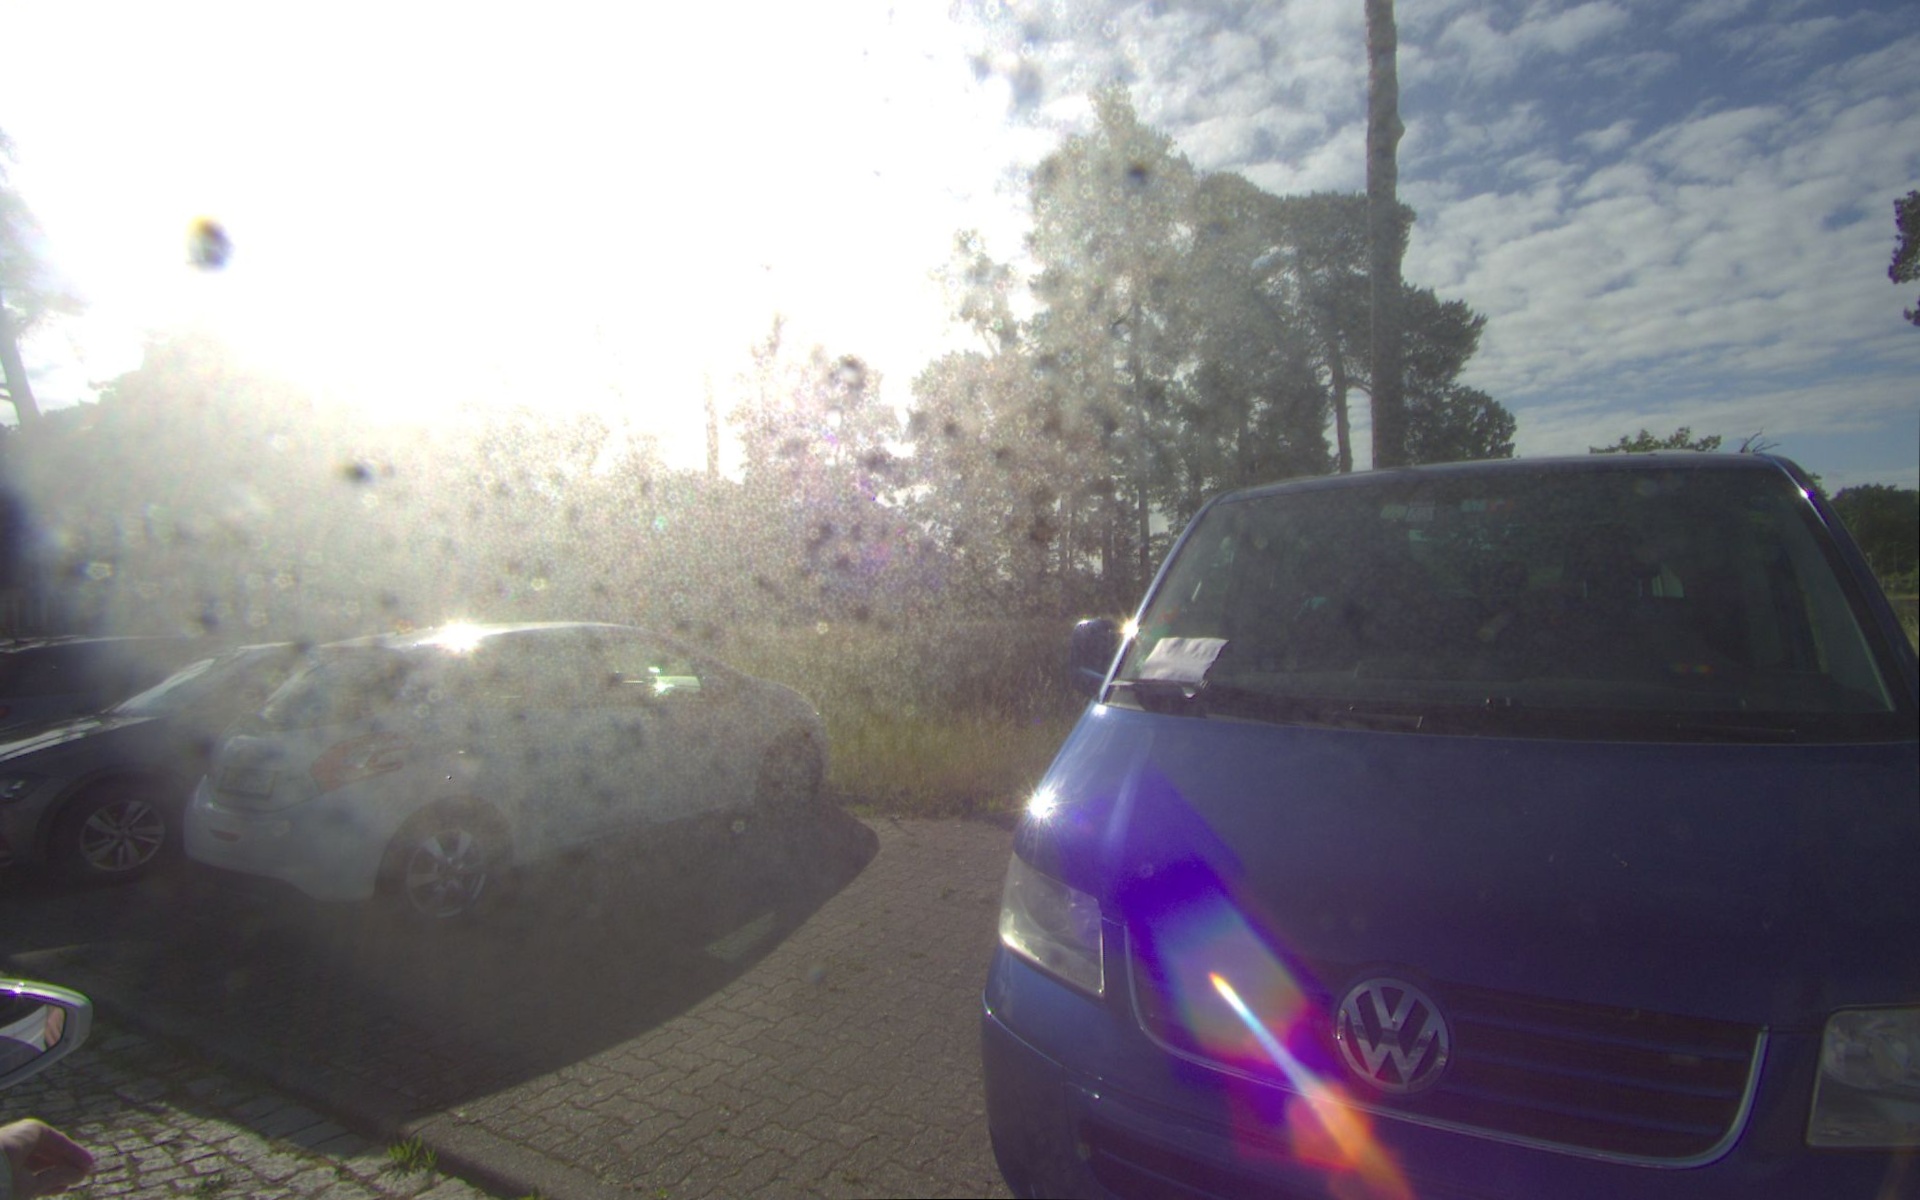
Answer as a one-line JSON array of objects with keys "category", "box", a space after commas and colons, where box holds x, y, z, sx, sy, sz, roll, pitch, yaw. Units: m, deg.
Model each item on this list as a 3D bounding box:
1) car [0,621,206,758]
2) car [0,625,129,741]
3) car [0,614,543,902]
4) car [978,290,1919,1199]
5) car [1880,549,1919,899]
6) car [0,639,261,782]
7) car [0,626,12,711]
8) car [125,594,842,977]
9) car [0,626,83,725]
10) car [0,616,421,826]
[{"category": "car", "box": [-11.686, 1.082, 11.819, 1.613, 1.468, 4.118, -1, 1, 31]}, {"category": "car", "box": [-13.589, 1.147, 12.639, 1.755, 1.434, 4.422, -1, 1, 31]}, {"category": "car", "box": [-5.297, 0.918, 7.398, 1.829, 1.468, 3.699, -1, 1, 32]}, {"category": "car", "box": [2.103, 0.465, 3.930, 1.971, 1.961, 4.689, -1, 1, 31]}, {"category": "car", "box": [4.356, 0.582, 2.668, 1.911, 1.598, 4.389, -1, 1, 31]}, {"category": "car", "box": [-9.772, 1.136, 10.412, 1.721, 1.240, 3.699, -1, 1, 32]}, {"category": "car", "box": [-17.946, 1.234, 15.899, 1.613, 1.434, 3.873, -1, 1, 31]}, {"category": "car", "box": [-2.594, 0.801, 6.309, 1.735, 1.555, 3.699, -1, 1, 32]}, {"category": "car", "box": [-15.730, 1.195, 14.269, 1.613, 1.434, 4.549, -1, 1, 31]}, {"category": "car", "box": [-7.395, 0.971, 9.395, 1.790, 1.468, 3.699, -1, 1, 31]}]
